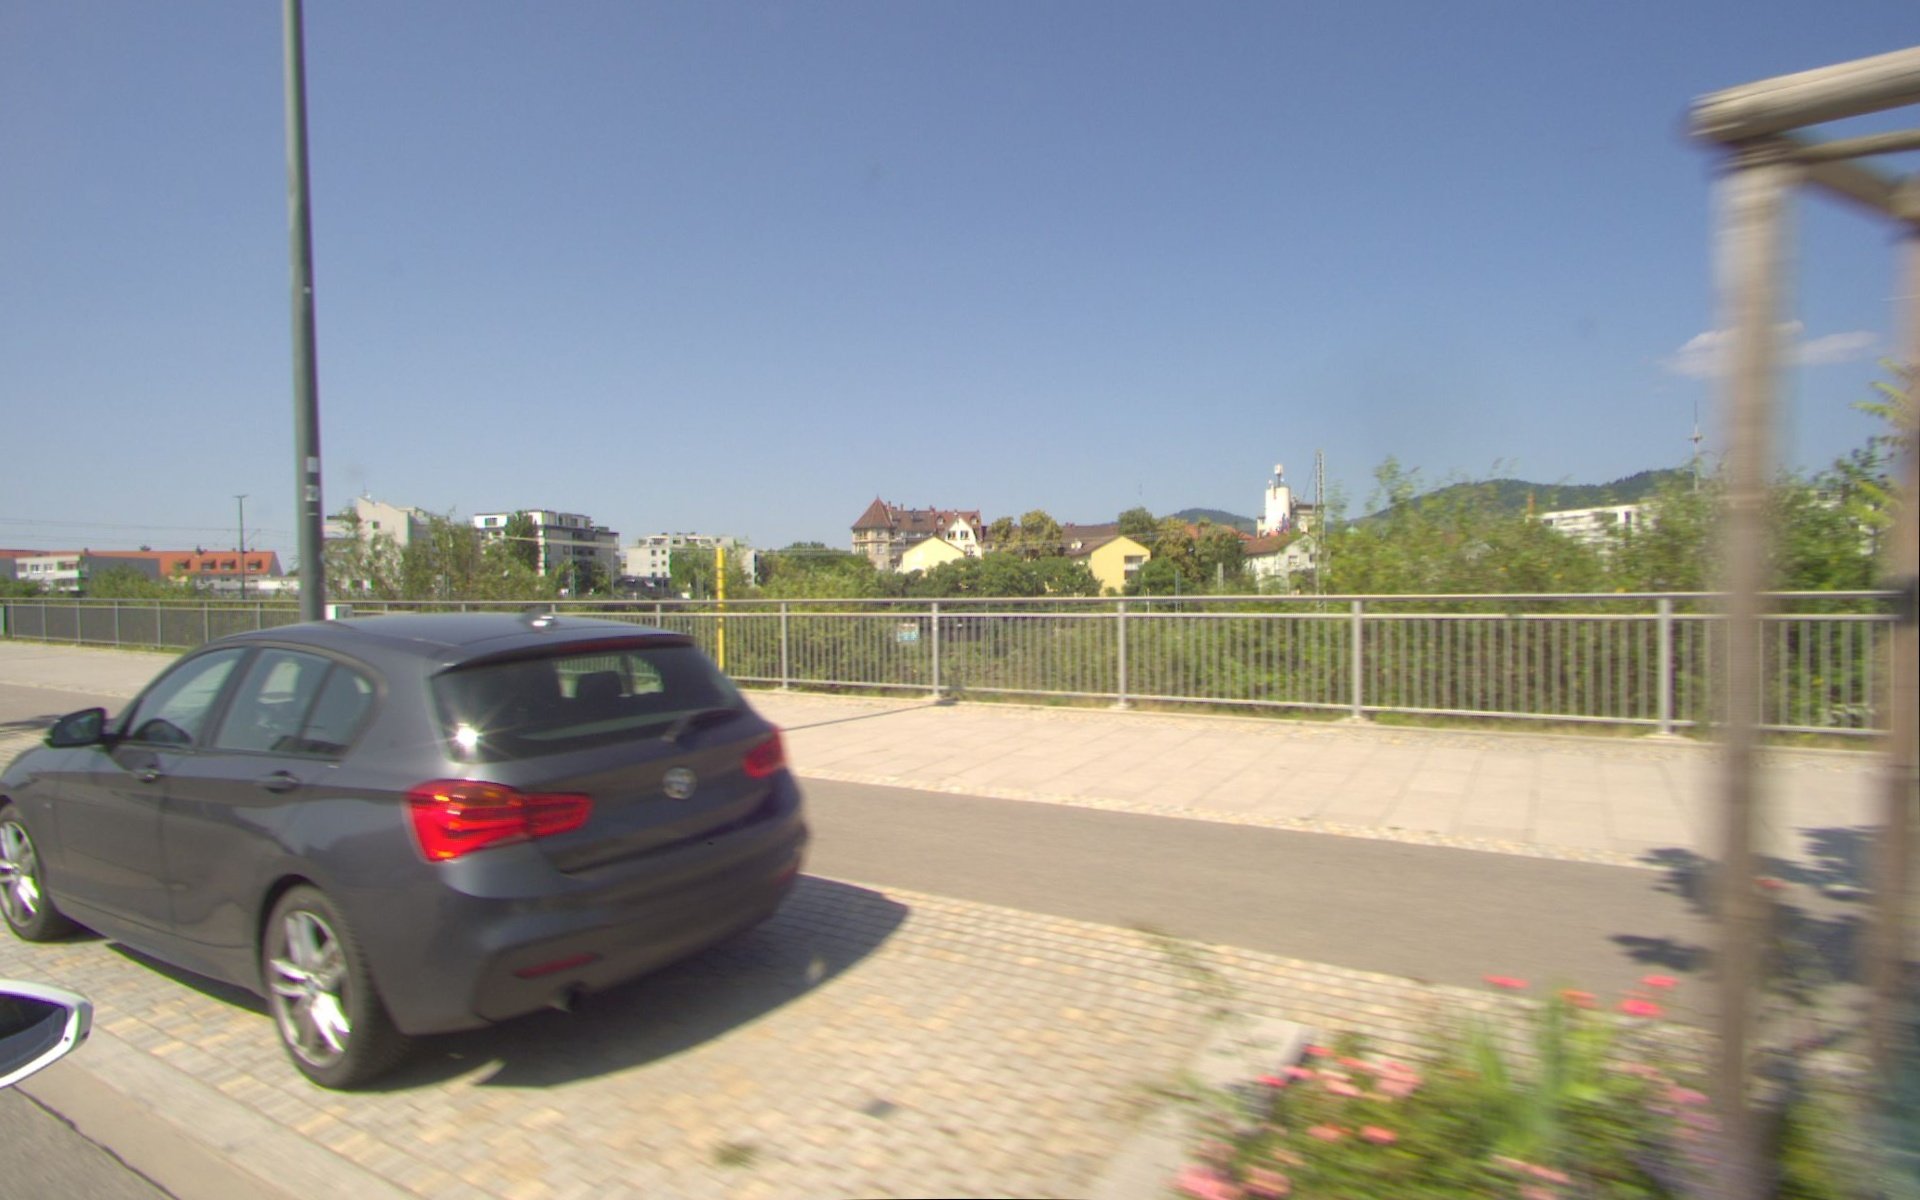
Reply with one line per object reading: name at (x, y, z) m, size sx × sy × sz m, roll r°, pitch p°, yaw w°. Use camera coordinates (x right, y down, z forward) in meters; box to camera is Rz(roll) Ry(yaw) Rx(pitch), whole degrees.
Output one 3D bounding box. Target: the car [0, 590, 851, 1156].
car at (-2.671, 0.738, 4.432) m, size 4.210 × 1.420 × 1.699 m, roll -1°, pitch 1°, yaw 33°
